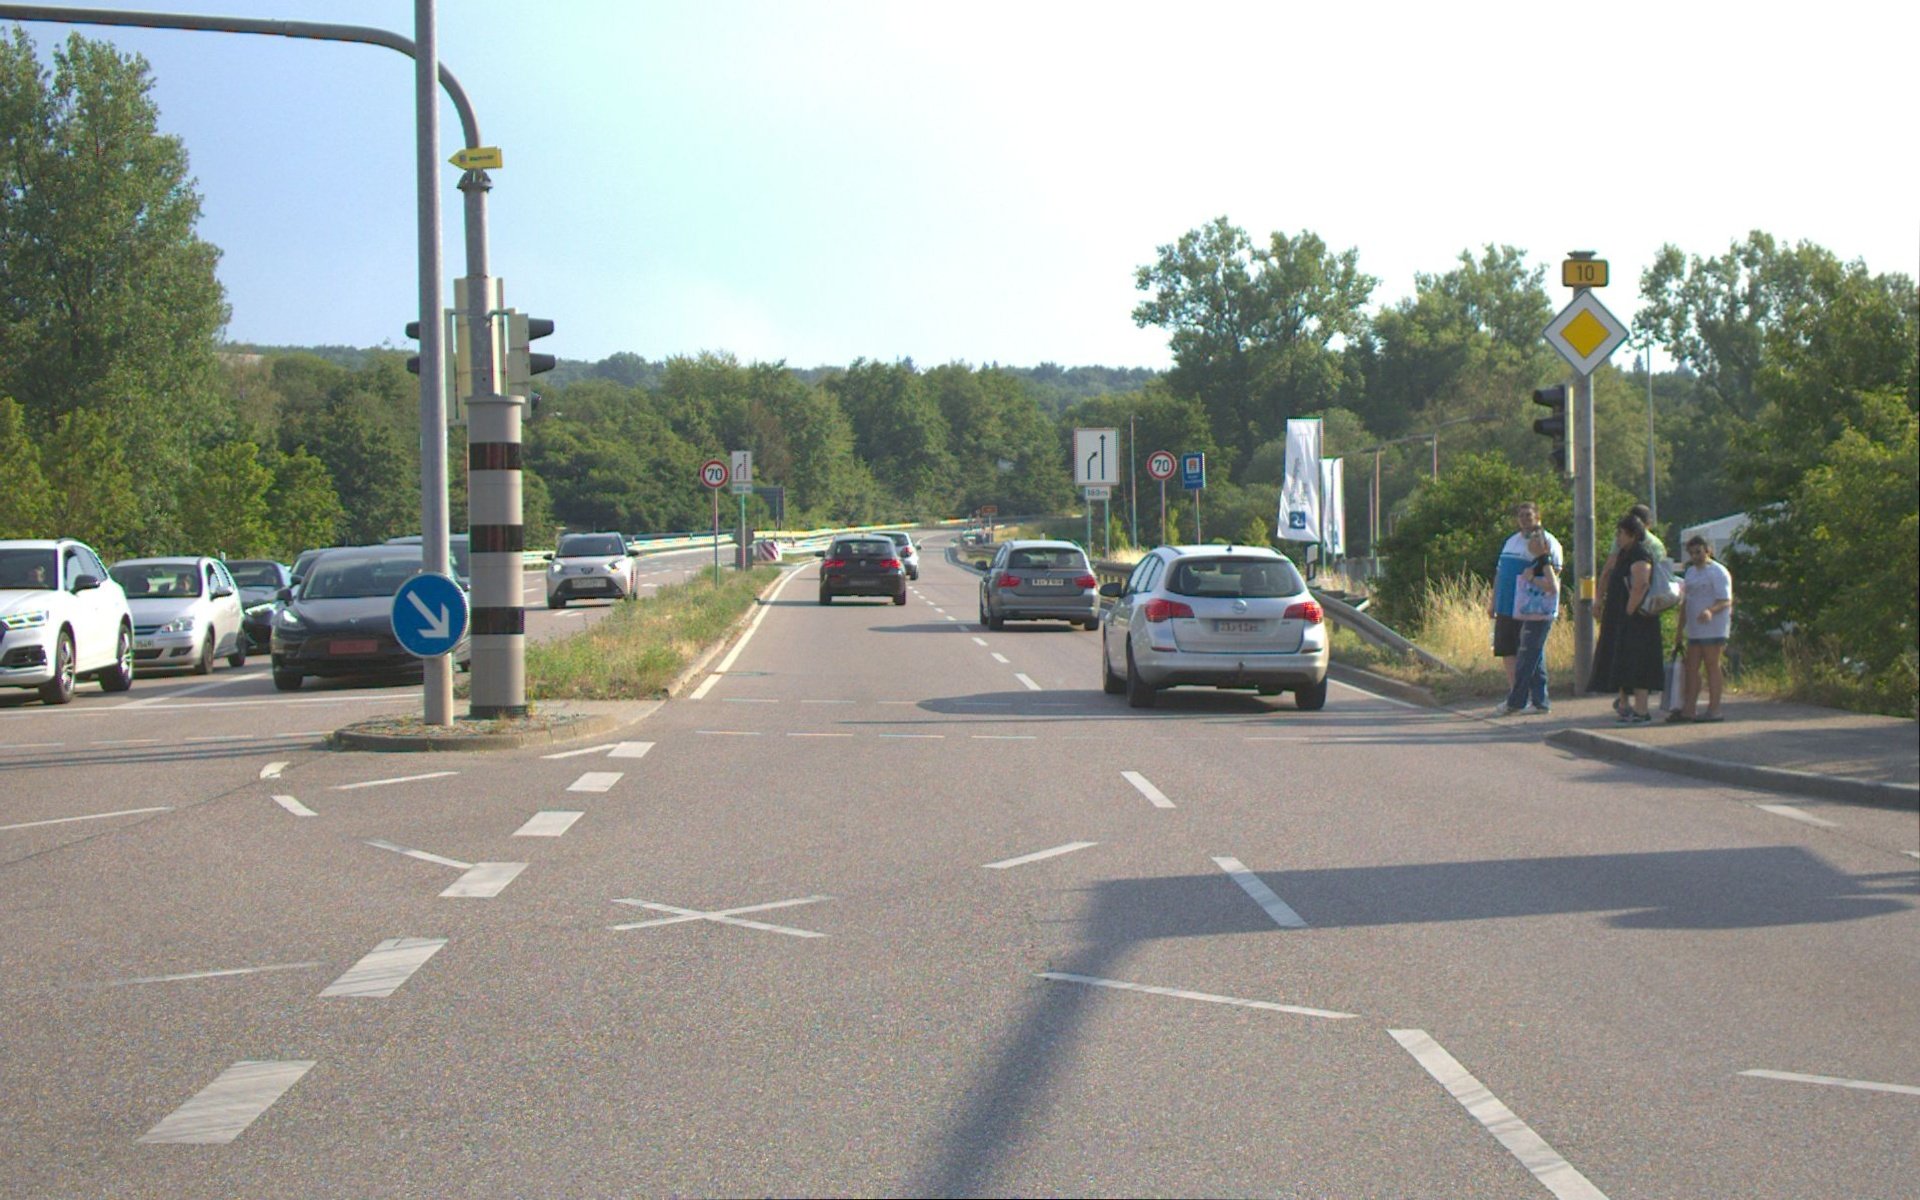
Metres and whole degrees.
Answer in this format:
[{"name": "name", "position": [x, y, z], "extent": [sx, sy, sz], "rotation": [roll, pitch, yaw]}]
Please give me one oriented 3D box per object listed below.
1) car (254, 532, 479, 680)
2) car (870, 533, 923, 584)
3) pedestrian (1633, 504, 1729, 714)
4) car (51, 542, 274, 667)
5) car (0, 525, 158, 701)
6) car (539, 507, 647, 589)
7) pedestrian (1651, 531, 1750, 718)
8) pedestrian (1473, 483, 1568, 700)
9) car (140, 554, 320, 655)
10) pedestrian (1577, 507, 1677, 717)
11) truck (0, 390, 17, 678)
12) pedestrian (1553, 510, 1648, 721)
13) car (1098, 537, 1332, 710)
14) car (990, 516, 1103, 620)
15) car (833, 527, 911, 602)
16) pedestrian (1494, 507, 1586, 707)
[{"name": "car", "position": [-6.282, 0.042, 36.885], "extent": [1.790, 1.461, 4.930], "rotation": [-1, 0, -3]}, {"name": "car", "position": [-1.898, -1.239, 103.431], "extent": [1.492, 1.471, 3.359], "rotation": [1, 0, 0]}, {"name": "pedestrian", "position": [5.837, 0.068, 27.864], "extent": [0.572, 1.672, 0.623], "rotation": [1, 0, -6]}, {"name": "car", "position": [-9.739, 0.041, 42.351], "extent": [1.702, 1.400, 5.082], "rotation": [-1, 0, -2]}, {"name": "car", "position": [-9.743, 0.128, 35.325], "extent": [1.993, 1.672, 4.807], "rotation": [-1, 0, -2]}, {"name": "car", "position": [-7.256, -1.018, 68.295], "extent": [1.780, 1.515, 4.000], "rotation": [-2, 0, -1]}, {"name": "pedestrian", "position": [5.847, 0.188, 27.156], "extent": [0.572, 1.452, 0.623], "rotation": [1, 0, -6]}, {"name": "pedestrian", "position": [4.937, -0.077, 30.318], "extent": [0.618, 1.876, 0.861], "rotation": [-1, 0, -2]}, {"name": "car", "position": [-10.461, 0.026, 49.589], "extent": [1.702, 1.279, 4.819], "rotation": [-2, 1, -2]}, {"name": "pedestrian", "position": [5.237, 0.090, 27.014], "extent": [0.572, 1.609, 0.623], "rotation": [-2, 0, -6]}, {"name": "truck", "position": [-13.618, -0.758, 38.869], "extent": [2.933, 3.678, 10.499], "rotation": [-3, 0, 0]}, {"name": "pedestrian", "position": [5.173, 0.122, 27.777], "extent": [0.572, 1.672, 0.623], "rotation": [1, 0, -6]}, {"name": "car", "position": [2.315, 0.196, 32.162], "extent": [1.809, 1.481, 4.000], "rotation": [1, 0, -1]}, {"name": "car", "position": [1.352, -0.502, 55.180], "extent": [1.667, 1.568, 4.000], "rotation": [2, 0, 0]}, {"name": "car", "position": [-1.795, -0.719, 70.742], "extent": [1.492, 1.471, 3.359], "rotation": [1, 0, 0]}, {"name": "pedestrian", "position": [4.984, 0.056, 29.569], "extent": [0.594, 1.677, 0.633], "rotation": [-3, 0, -2]}]
